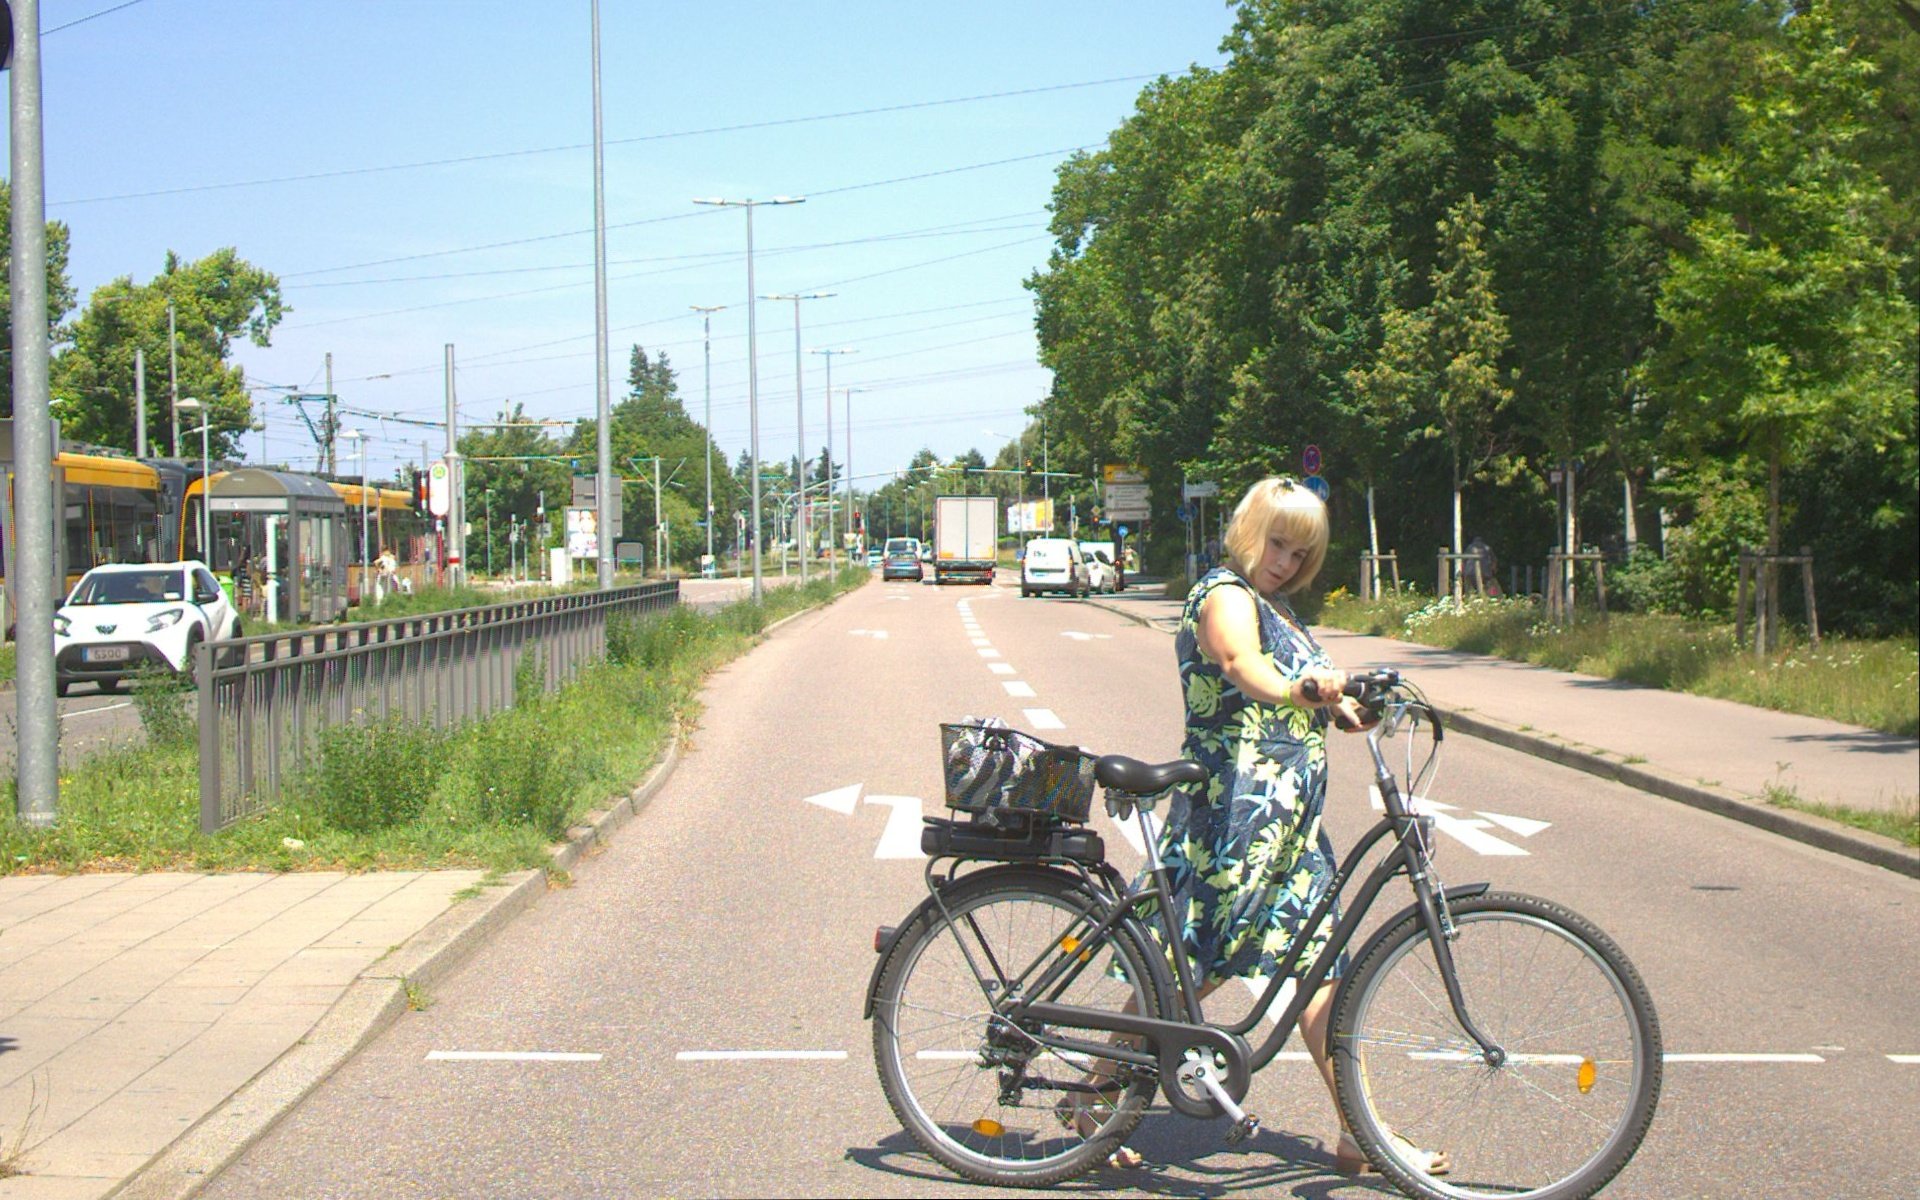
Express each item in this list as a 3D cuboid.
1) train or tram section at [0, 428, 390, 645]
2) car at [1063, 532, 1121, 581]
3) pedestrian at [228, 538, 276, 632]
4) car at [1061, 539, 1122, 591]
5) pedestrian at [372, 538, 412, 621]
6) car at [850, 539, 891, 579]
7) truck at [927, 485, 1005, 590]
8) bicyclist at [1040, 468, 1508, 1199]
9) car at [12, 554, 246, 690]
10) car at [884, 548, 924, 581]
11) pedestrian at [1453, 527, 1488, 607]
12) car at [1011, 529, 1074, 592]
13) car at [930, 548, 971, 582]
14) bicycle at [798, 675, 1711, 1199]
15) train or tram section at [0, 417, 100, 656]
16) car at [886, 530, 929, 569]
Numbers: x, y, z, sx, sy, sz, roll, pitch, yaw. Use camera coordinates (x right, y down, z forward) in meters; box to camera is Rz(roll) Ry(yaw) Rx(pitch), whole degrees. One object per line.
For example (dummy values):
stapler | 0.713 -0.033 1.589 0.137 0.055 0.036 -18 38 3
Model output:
train or tram section | -16.768 -1.407 76.744 2.931 3.776 33.090 0 1 -1
car | 4.541 -1.523 118.788 1.779 1.663 4.000 0 1 -1
pedestrian | -14.263 -0.307 69.302 0.785 1.862 0.817 0 1 -1
car | 4.291 -1.158 112.445 1.779 1.663 4.000 0 1 -1
pedestrian | -13.823 -0.514 83.654 0.815 2.007 0.938 0 1 -1
car | -4.562 -2.086 175.165 1.993 2.007 4.000 0 1 -1
truck | 0.205 -2.642 146.110 3.205 4.344 6.561 0 1 -1
bicyclist | 0.737 0.534 7.943 0.958 1.661 0.580 0 2 18
car | -9.667 0.216 40.243 1.845 1.489 3.791 0 1 -1
car | -2.579 -1.638 157.818 1.811 1.459 4.000 0 1 -1
pedestrian | 9.247 -0.603 62.305 0.604 1.433 0.556 0 1 6
car | 2.503 -1.229 105.515 1.779 1.897 4.000 0 1 -1
car | -0.441 -1.567 153.617 1.811 1.459 4.000 0 1 -1
bicycle | 0.658 0.768 7.716 1.959 1.157 0.541 0 2 18
train or tram section | -16.406 -0.830 45.218 2.957 3.736 30.035 0 1 -1
car | -2.470 -2.373 163.452 1.993 1.809 4.000 1 1 -1
